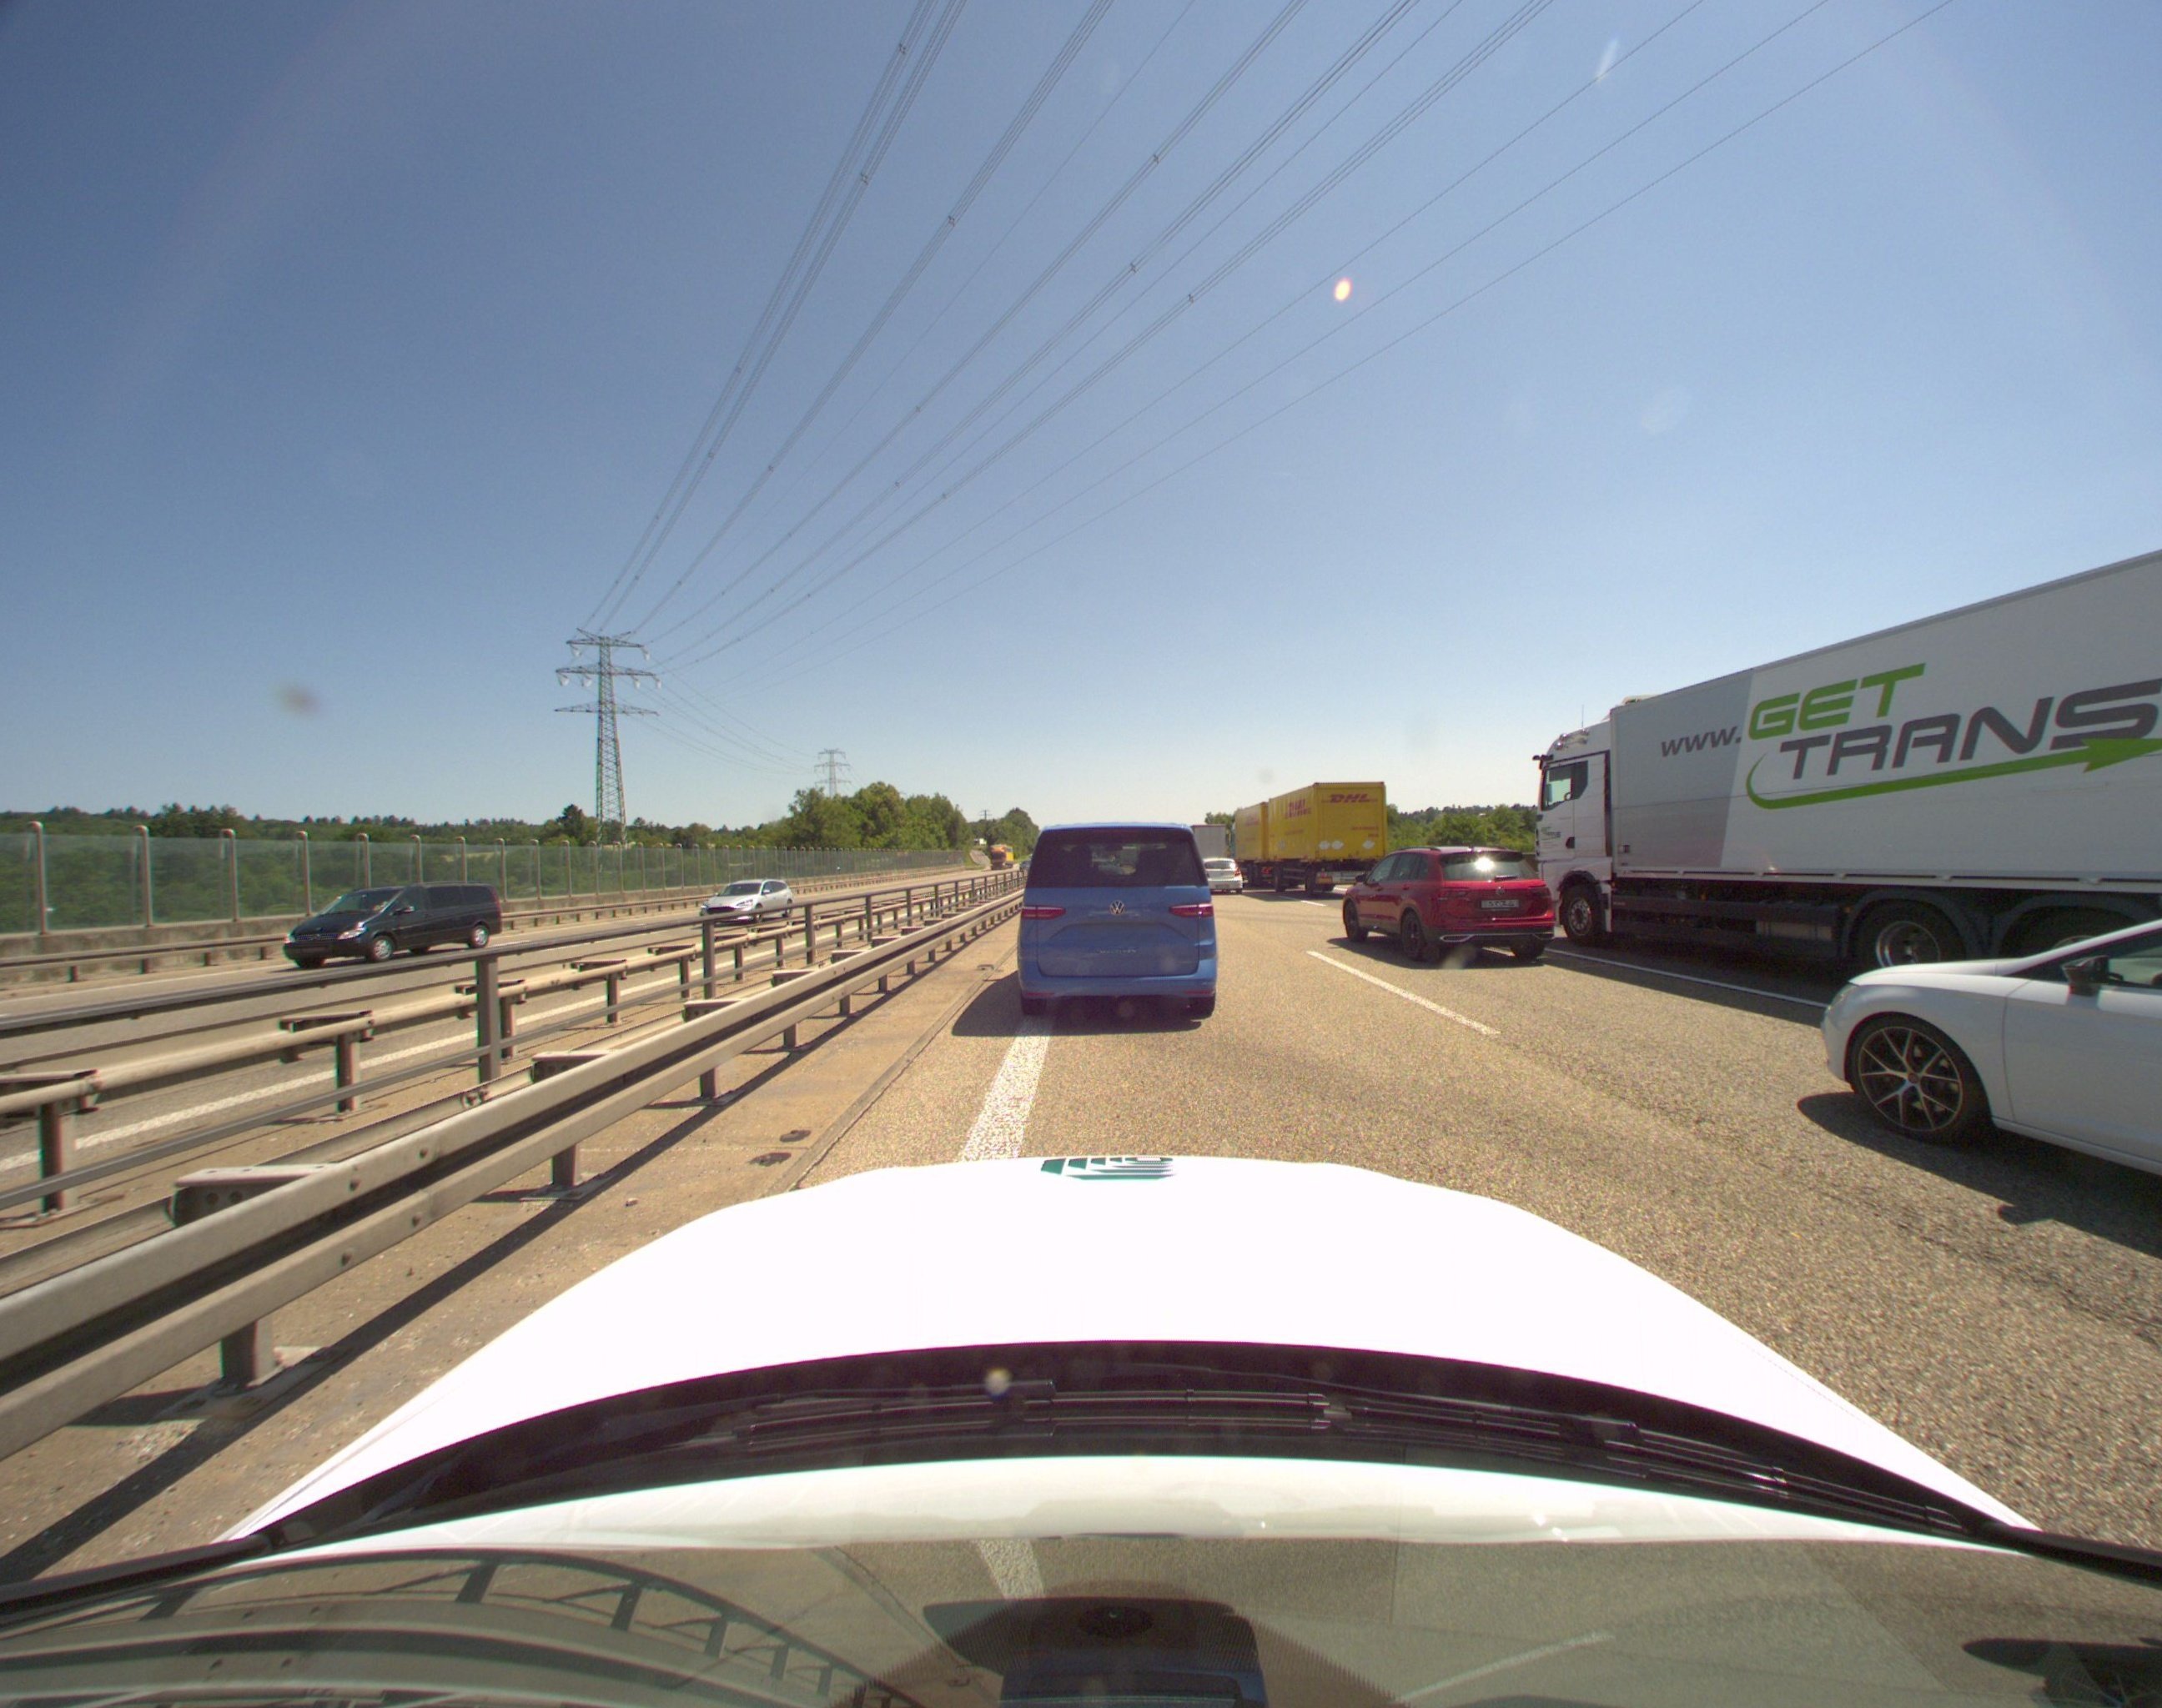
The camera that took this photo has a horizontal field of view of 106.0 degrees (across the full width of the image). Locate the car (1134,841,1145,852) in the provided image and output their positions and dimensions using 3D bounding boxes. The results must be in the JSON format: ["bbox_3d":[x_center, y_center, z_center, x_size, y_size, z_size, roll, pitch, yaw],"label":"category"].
[{"bbox_3d":[11.401,-1.409,160.017,1.986,2.014,4.001,0,-1,1],"label":"car"}]

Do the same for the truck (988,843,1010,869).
[{"bbox_3d":[-13.749,0.368,137.220,2.660,4.185,6.292,-2,-1,3],"label":"truck"}]

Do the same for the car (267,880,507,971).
[{"bbox_3d":[-17.786,1.726,21.289,1.951,1.905,4.949,-3,-1,0],"label":"car"}]

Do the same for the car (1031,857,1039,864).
[{"bbox_3d":[-13.388,1.893,237.342,1.835,2.042,3.944,0,-1,1],"label":"car"}]

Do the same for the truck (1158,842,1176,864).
[{"bbox_3d":[9.977,-0.126,94.965,1.791,2.449,4.505,0,-1,2],"label":"truck"}]

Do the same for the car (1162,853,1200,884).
[{"bbox_3d":[5.650,0.801,46.349,1.808,1.679,3.933,0,-1,2],"label":"car"}]

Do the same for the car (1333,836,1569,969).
[{"bbox_3d":[5.496,0.666,12.785,1.703,1.679,4.283,-2,-1,0],"label":"car"}]

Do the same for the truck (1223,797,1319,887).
[{"bbox_3d":[9.534,-0.475,42.062,2.690,4.088,9.938,0,-1,0],"label":"truck"}]

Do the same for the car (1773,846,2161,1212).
[{"bbox_3d":[5.118,0.687,2.837,1.702,1.451,4.429,0,0,1],"label":"car"}]

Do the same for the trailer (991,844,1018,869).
[{"bbox_3d":[-13.390,0.493,143.978,2.617,4.114,14.026,-2,-1,3],"label":"trailer"}]

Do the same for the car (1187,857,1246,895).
[{"bbox_3d":[5.628,0.896,34.187,1.809,1.470,3.931,0,-1,0],"label":"car"}]

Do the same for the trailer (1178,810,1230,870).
[{"bbox_3d":[10.082,-1.010,67.895,3.015,4.611,10.928,0,-1,2],"label":"trailer"}]

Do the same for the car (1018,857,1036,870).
[{"bbox_3d":[-6.912,1.174,104.165,1.755,1.508,4.225,-3,0,2],"label":"car"}]

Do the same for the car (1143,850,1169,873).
[{"bbox_3d":[6.349,0.658,69.535,1.955,1.936,3.933,0,-1,1],"label":"car"}]

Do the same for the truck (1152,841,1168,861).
[{"bbox_3d":[10.058,-0.357,103.863,1.735,2.549,4.211,0,-1,2],"label":"truck"}]

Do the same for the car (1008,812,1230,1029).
[{"bbox_3d":[0.379,0.608,9.097,1.924,1.874,4.001,0,-1,1],"label":"car"}]

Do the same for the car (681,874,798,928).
[{"bbox_3d":[-11.534,1.550,27.890,1.986,1.544,4.387,-3,-1,2],"label":"car"}]

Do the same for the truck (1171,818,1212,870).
[{"bbox_3d":[10.367,-0.843,77.320,3.015,4.611,7.923,0,-1,2],"label":"truck"}]

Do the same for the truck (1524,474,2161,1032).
[{"bbox_3d":[9.111,-0.668,8.942,2.842,3.934,10.610,0,-1,1],"label":"truck"}]

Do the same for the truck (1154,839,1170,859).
[{"bbox_3d":[10.798,-0.657,108.380,1.790,2.596,4.306,0,-1,2],"label":"truck"}]

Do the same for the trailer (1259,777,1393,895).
[{"bbox_3d":[9.454,-0.562,32.676,2.674,4.088,8.978,0,-1,0],"label":"trailer"}]
